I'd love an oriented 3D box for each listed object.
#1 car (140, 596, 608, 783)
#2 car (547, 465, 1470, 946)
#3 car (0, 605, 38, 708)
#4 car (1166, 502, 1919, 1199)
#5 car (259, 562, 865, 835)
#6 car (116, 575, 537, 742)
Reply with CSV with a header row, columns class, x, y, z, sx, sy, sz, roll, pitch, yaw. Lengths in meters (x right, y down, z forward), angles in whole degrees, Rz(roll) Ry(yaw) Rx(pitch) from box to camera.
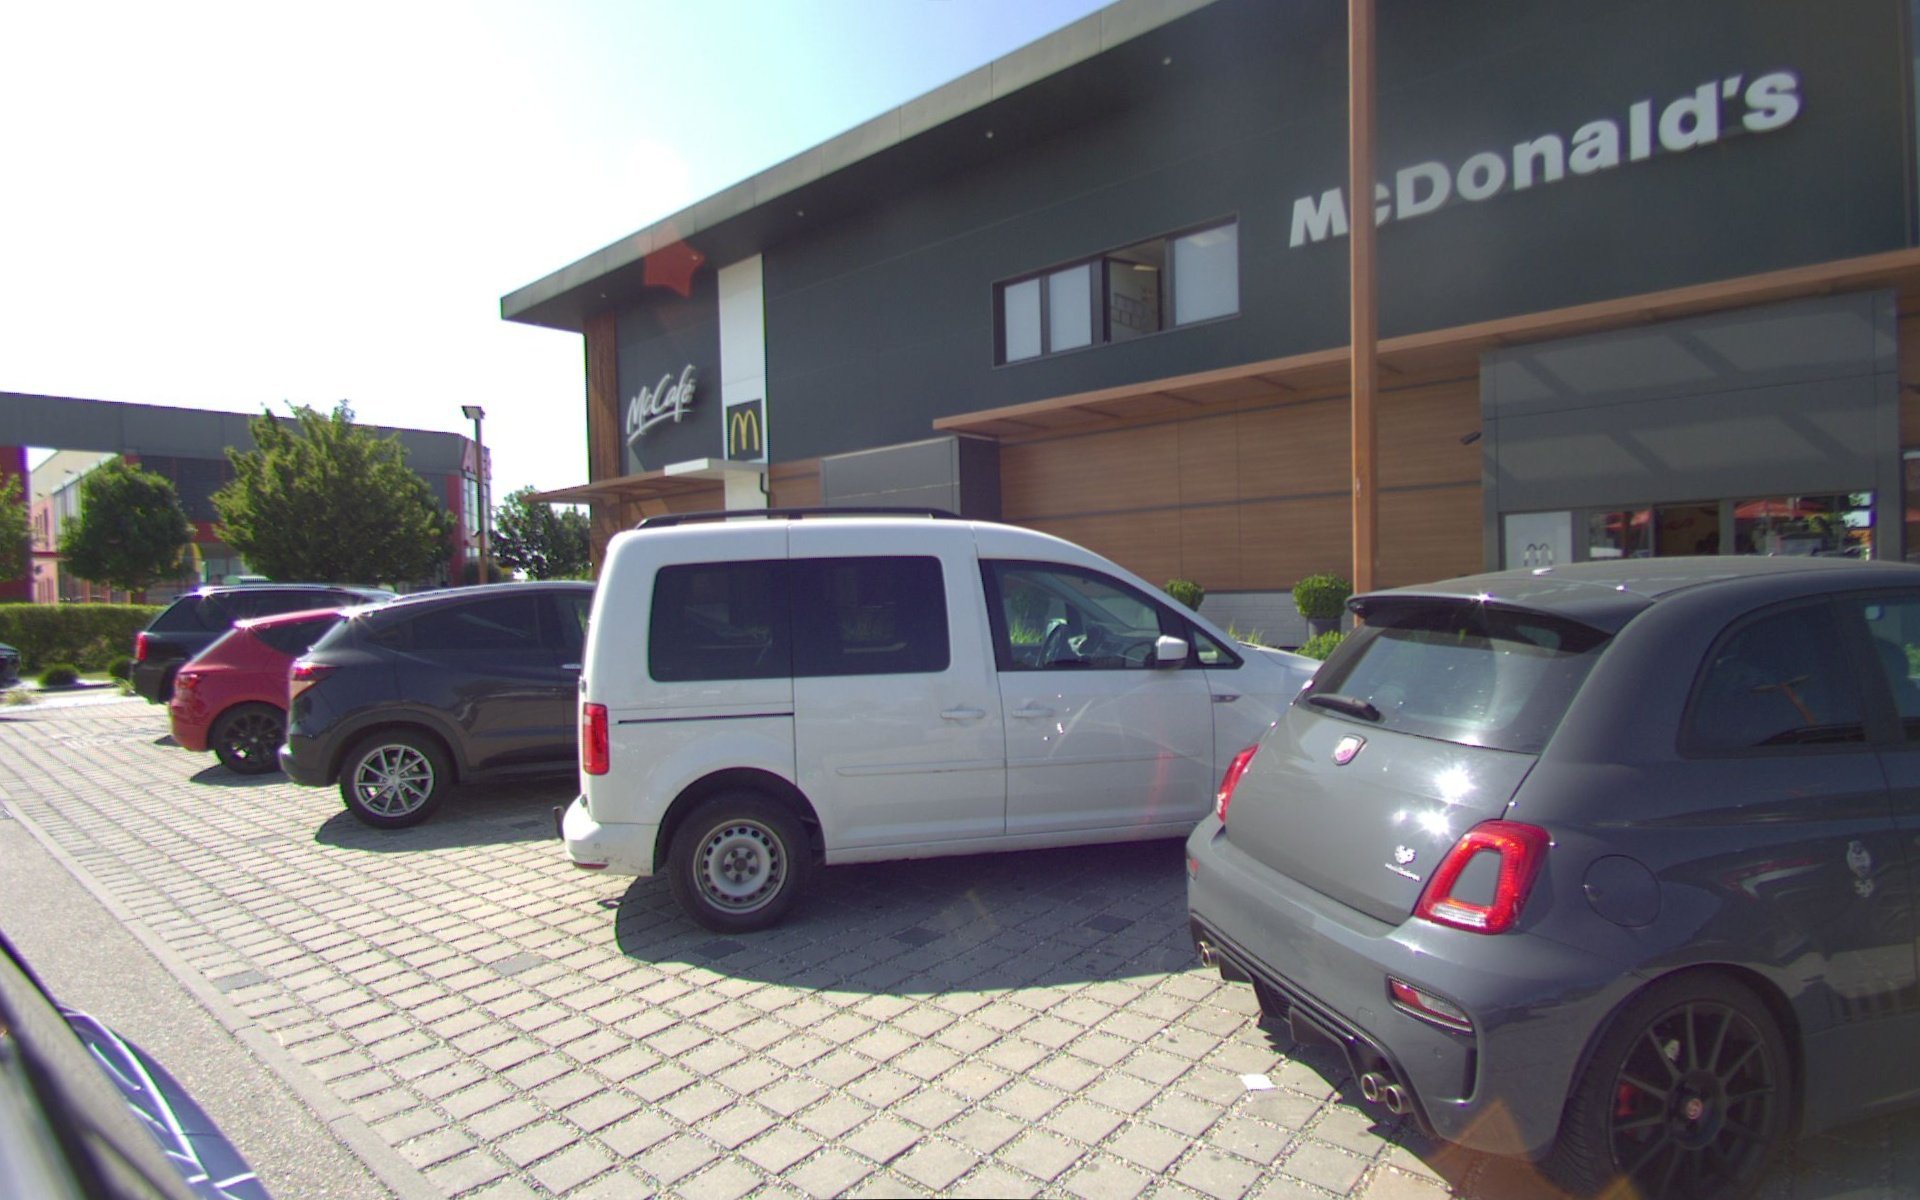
class,x,y,z,sx,sy,sz,roll,pitch,yaw
car,-5.500,0.767,10.028,3.707,1.455,1.680,-2,0,-21
car,0.212,0.386,5.296,4.078,1.936,1.762,-1,0,-9
car,-17.496,0.969,15.334,1.923,1.642,4.998,-1,0,39
car,2.535,0.522,3.024,3.359,1.493,1.572,-2,0,-12
car,-2.766,0.595,7.653,3.779,1.644,1.763,-1,0,-16
car,-7.456,0.628,12.319,3.973,1.718,1.679,-2,1,-11
